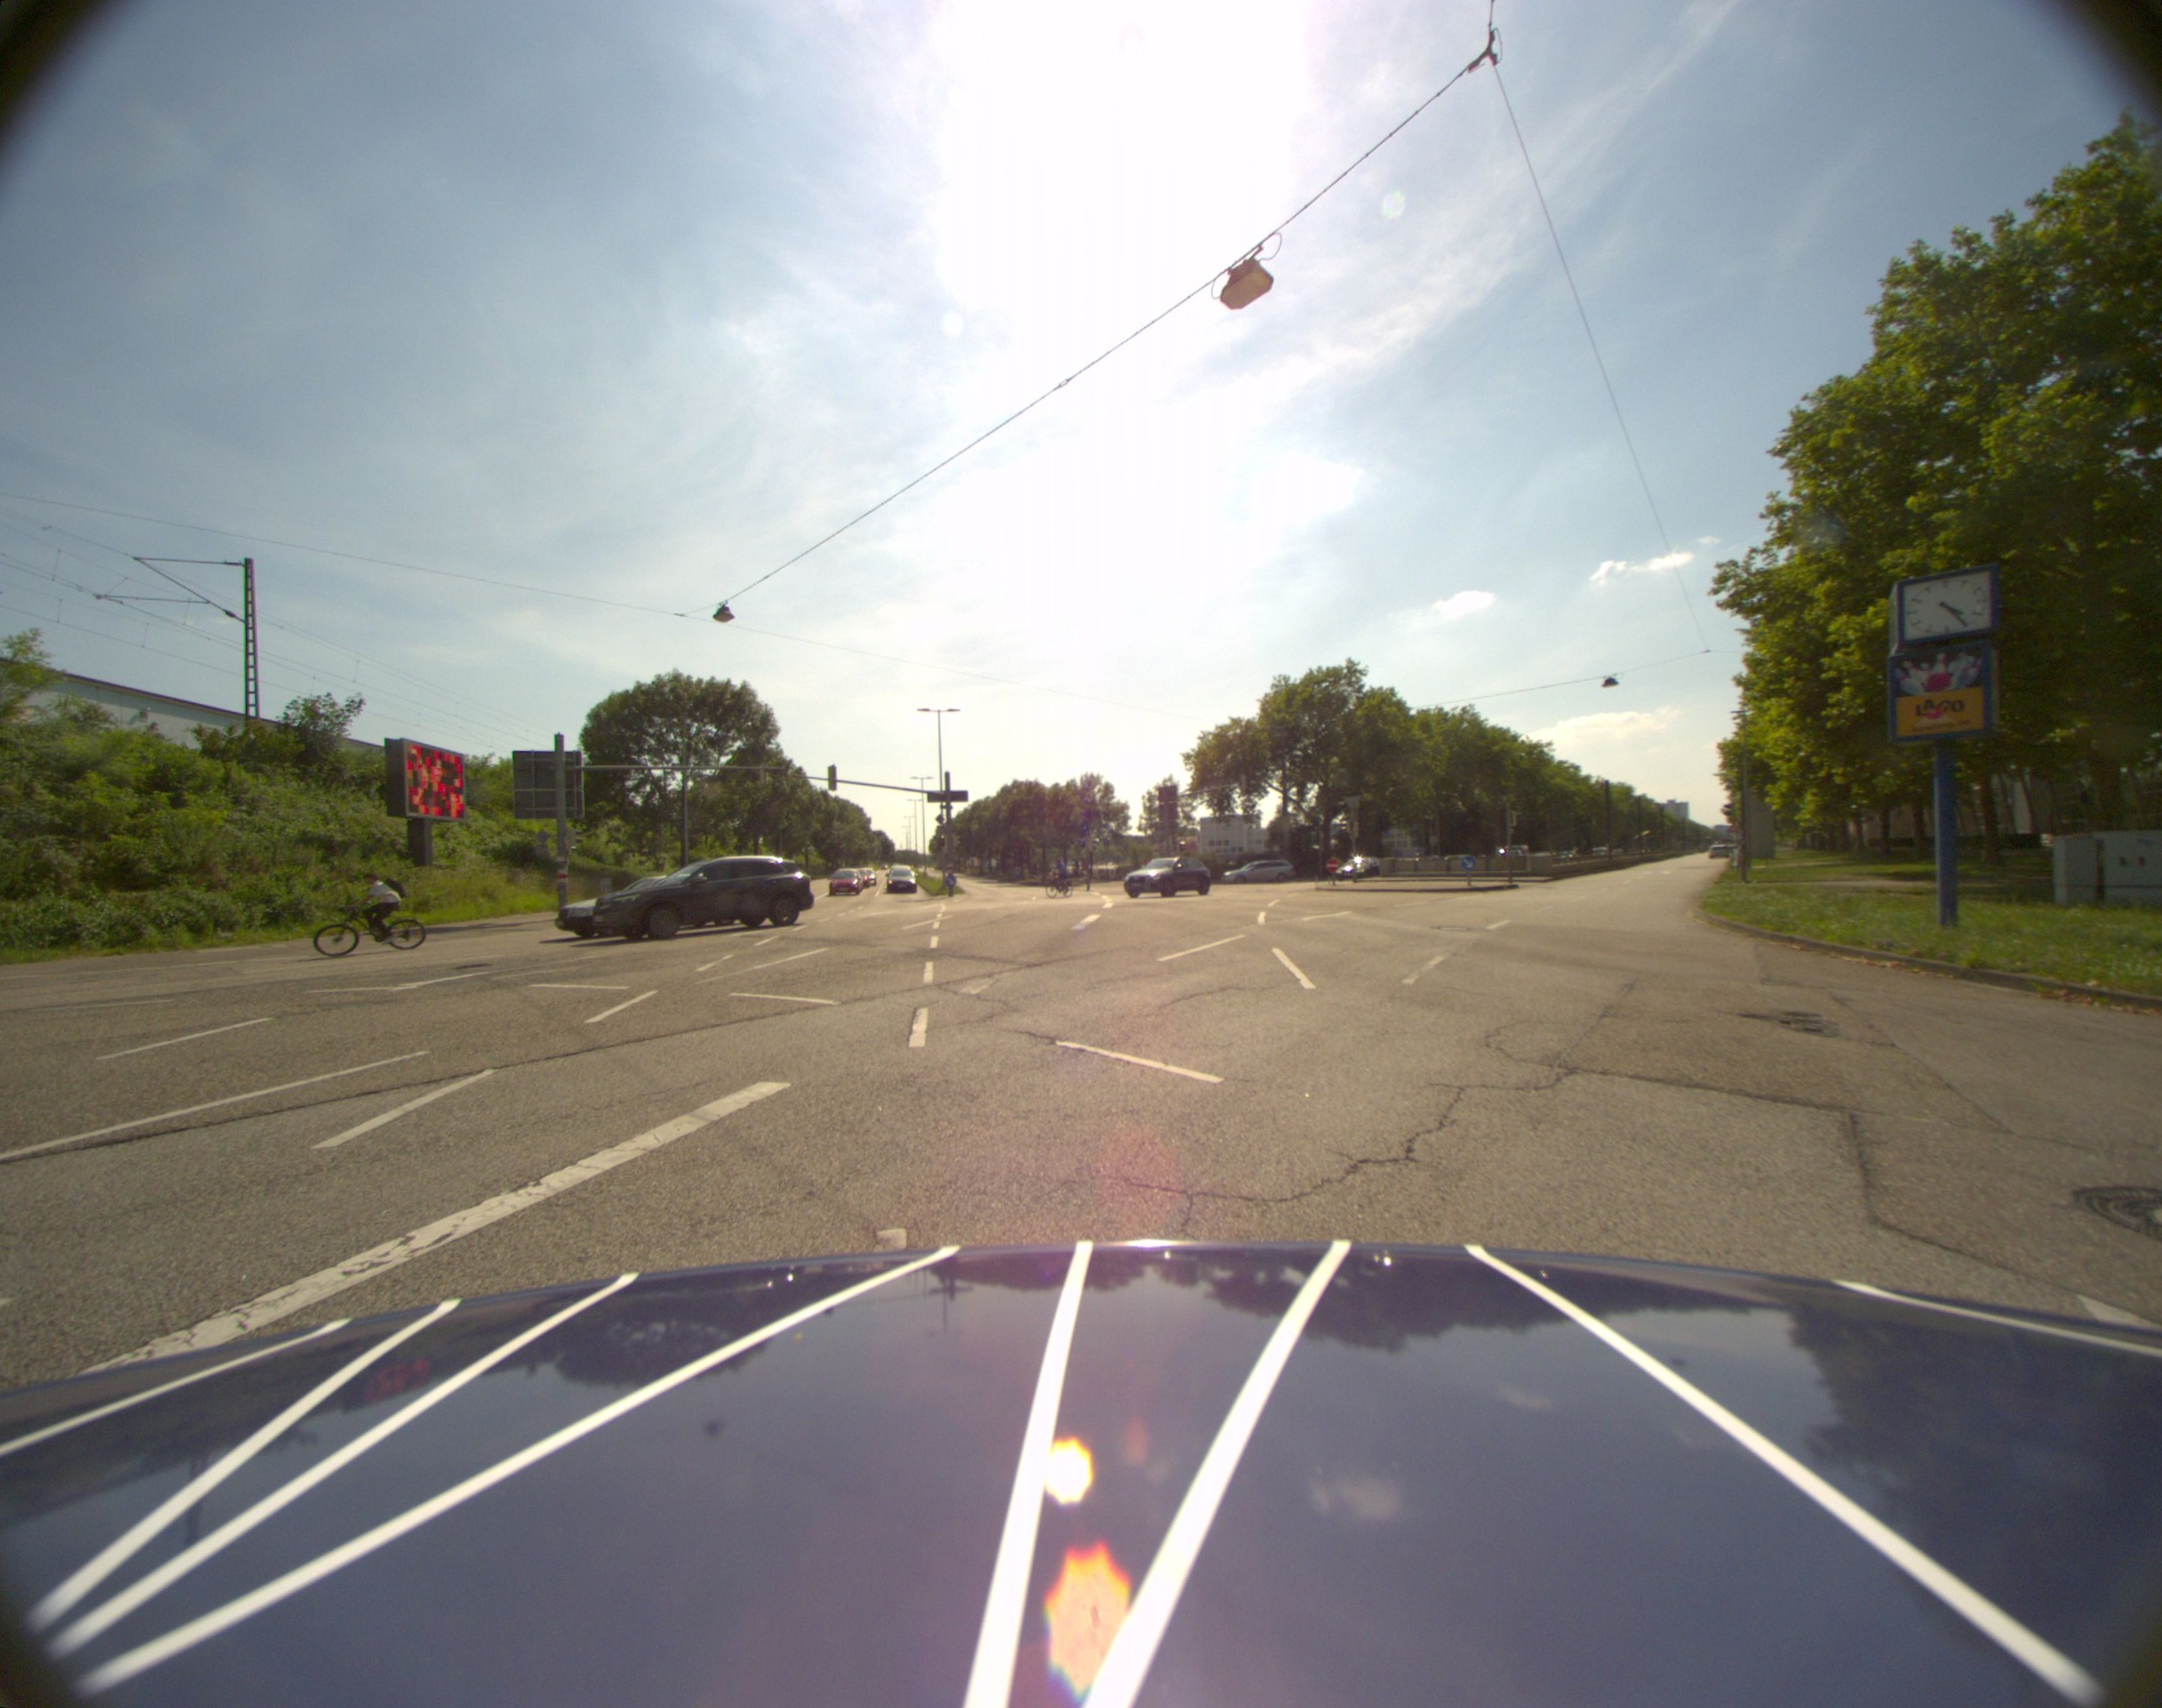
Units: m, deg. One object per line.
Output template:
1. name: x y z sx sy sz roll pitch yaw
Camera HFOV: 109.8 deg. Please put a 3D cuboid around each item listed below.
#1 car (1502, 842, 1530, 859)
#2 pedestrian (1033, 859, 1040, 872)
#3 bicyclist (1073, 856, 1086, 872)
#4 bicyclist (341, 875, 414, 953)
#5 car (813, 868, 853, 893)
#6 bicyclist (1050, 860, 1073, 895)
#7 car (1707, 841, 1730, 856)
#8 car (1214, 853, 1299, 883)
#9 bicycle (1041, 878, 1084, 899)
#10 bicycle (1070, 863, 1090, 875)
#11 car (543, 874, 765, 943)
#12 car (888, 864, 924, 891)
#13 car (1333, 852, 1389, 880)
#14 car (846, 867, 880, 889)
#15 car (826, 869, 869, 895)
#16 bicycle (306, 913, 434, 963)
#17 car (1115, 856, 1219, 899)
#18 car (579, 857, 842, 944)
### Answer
1. car: 51.927 -0.443 90.671 1.868 1.925 4.008 -1 0 44
2. pedestrian: -5.266 1.389 89.410 0.579 1.515 0.879 -2 0 -15
3. bicyclist: -0.132 0.940 71.041 0.885 1.434 0.964 -2 0 -21
4. bicyclist: -15.544 1.300 16.796 0.804 1.624 1.070 -4 -2 40
5. car: -15.909 1.717 48.956 1.716 1.498 3.999 -2 -2 -8
6. bicyclist: -0.866 1.054 34.138 0.546 1.557 0.911 -1 0 40
7. car: 73.259 -0.631 87.336 1.899 1.630 4.008 -4 -2 40
8. car: 11.706 0.922 50.774 5.166 1.713 1.998 -2 -2 -14
9. bicycle: -0.804 1.555 34.198 0.546 0.830 2.305 -1 0 40
10. bicycle: -0.127 1.428 71.057 0.885 1.053 2.768 -2 0 -20
11. car: -10.455 1.264 18.898 1.711 1.383 4.450 -2 -1 40
12. car: -10.609 1.437 46.192 1.716 1.498 3.999 -2 -2 -8
13. car: 16.990 0.700 46.062 1.814 1.604 4.008 -3 -1 41
14. car: -15.898 1.763 55.564 1.716 1.498 3.999 -2 -2 -8
15. car: -13.414 1.610 43.888 1.716 1.384 3.999 -2 -2 -8
16. bicycle: -15.593 1.815 16.699 0.815 0.887 1.930 -4 -1 40
17. car: 3.534 0.907 30.518 1.825 1.540 4.570 -2 -1 41
18. car: -8.238 0.945 17.329 1.943 1.598 4.985 -2 0 41
